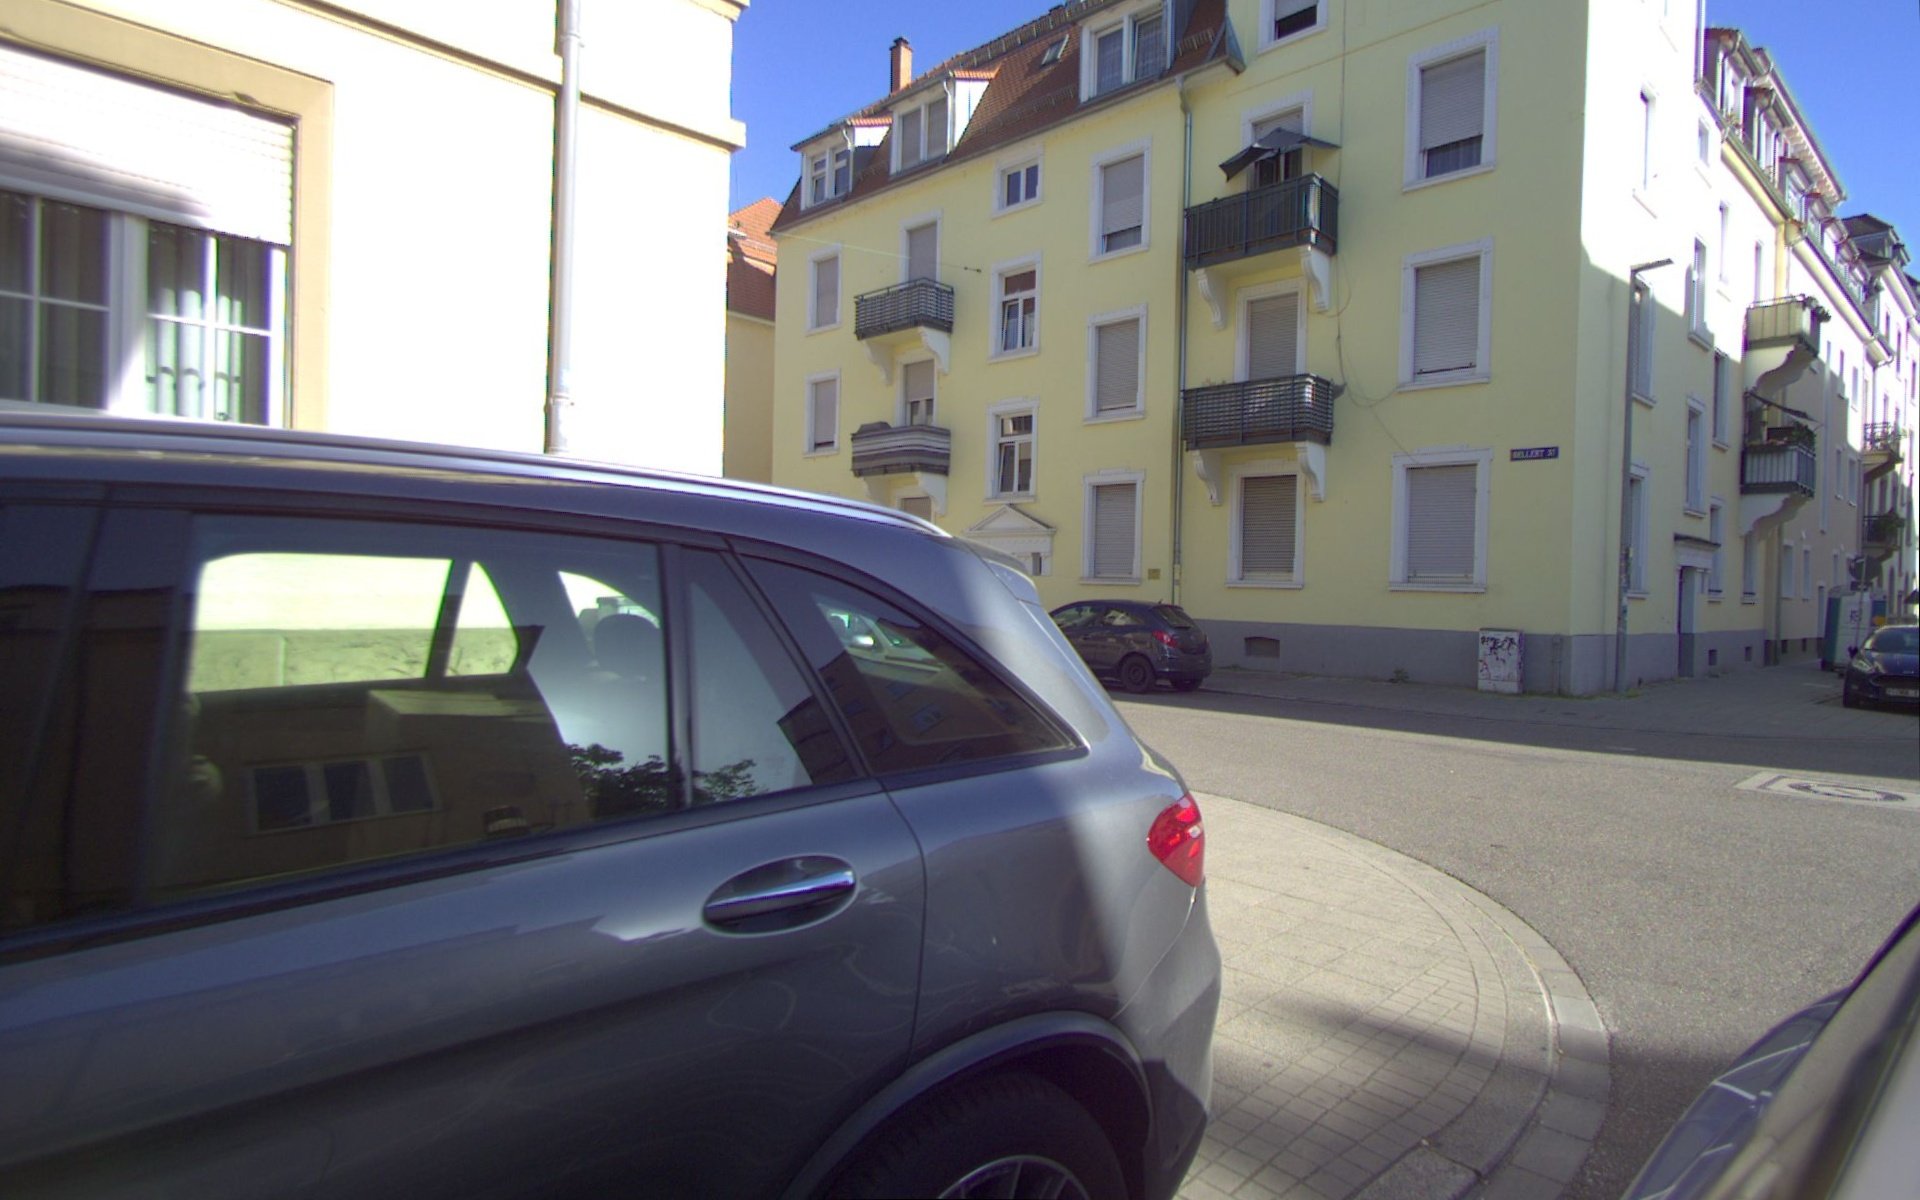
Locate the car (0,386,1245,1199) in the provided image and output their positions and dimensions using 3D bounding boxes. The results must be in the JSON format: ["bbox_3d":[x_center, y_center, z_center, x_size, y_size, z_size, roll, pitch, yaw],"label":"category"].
[{"bbox_3d":[-1.786,0.661,0.973,4.354,1.685,1.791,1,0,-40],"label":"car"}]

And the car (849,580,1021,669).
[{"bbox_3d":[-0.530,0.441,19.792,3.176,1.605,1.546,1,-1,43],"label":"car"}]

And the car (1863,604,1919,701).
[{"bbox_3d":[16.307,0.835,16.657,3.658,1.443,1.707,0,3,-42],"label":"car"}]

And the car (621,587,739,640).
[{"bbox_3d":[-7.221,0.336,25.963,3.238,1.249,1.339,1,-1,41],"label":"car"}]

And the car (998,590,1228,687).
[{"bbox_3d":[2.495,0.600,16.960,3.498,1.397,1.621,2,-1,43],"label":"car"}]

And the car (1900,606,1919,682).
[{"bbox_3d":[20.268,0.882,20.288,3.658,1.443,1.707,0,3,-42],"label":"car"}]

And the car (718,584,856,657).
[{"bbox_3d":[-3.969,0.437,23.038,3.057,1.552,1.495,1,-1,43],"label":"car"}]

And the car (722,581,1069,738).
[{"bbox_3d":[-0.893,0.559,11.926,4.162,1.490,1.667,2,0,43],"label":"car"}]
